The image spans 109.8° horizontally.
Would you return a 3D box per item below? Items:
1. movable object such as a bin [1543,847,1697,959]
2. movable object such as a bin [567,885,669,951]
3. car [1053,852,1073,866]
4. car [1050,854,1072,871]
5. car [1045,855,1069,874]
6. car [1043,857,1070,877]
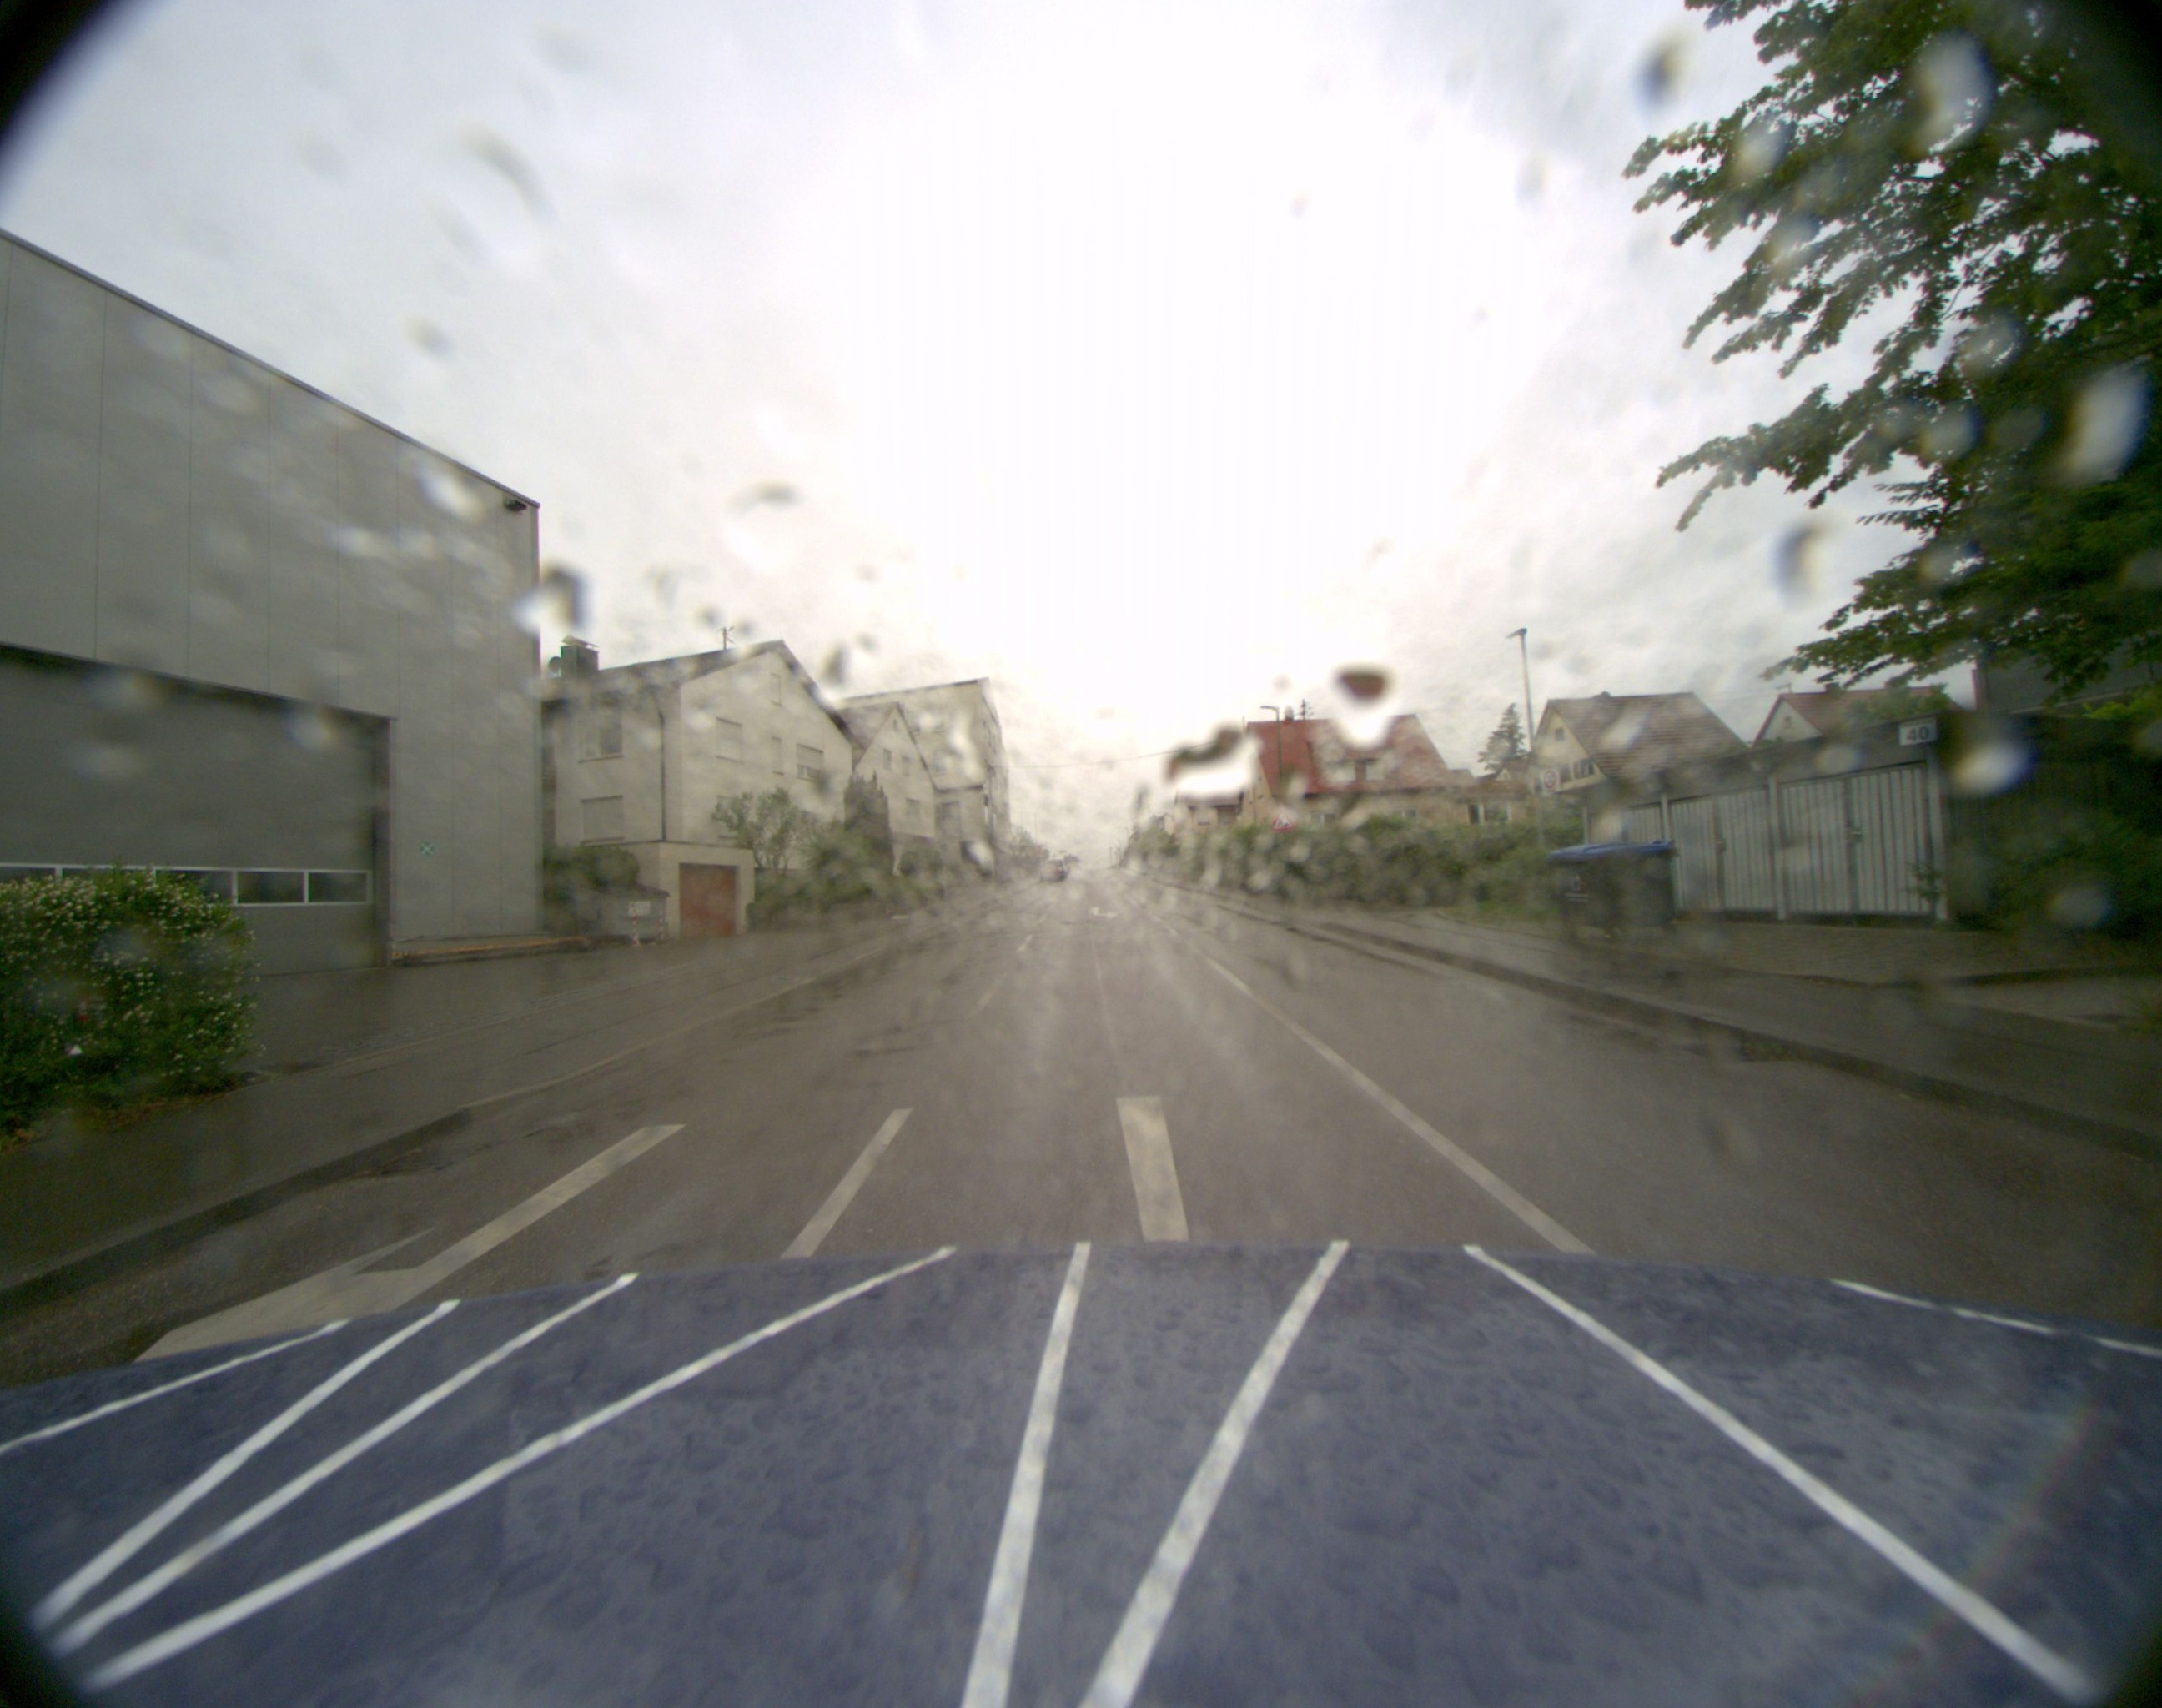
[{"bbox_3d":[7.156,0.628,10.181,1.056,1.289,1.202,-7,-1,1],"label":"movable object such as a bin"},{"bbox_3d":[-11.539,1.587,19.001,1.446,1.526,1.591,-2,-1,16],"label":"movable object such as a bin"},{"bbox_3d":[-1.999,0.548,85.462,1.848,1.514,4.001,-2,0,2],"label":"car"},{"bbox_3d":[-1.893,0.783,73.195,1.848,1.514,4.001,-2,0,2],"label":"car"},{"bbox_3d":[-2.107,0.900,67.128,1.848,1.514,4.001,-2,0,2],"label":"car"},{"bbox_3d":[-1.954,1.023,61.028,1.848,1.514,4.001,-2,0,2],"label":"car"}]
